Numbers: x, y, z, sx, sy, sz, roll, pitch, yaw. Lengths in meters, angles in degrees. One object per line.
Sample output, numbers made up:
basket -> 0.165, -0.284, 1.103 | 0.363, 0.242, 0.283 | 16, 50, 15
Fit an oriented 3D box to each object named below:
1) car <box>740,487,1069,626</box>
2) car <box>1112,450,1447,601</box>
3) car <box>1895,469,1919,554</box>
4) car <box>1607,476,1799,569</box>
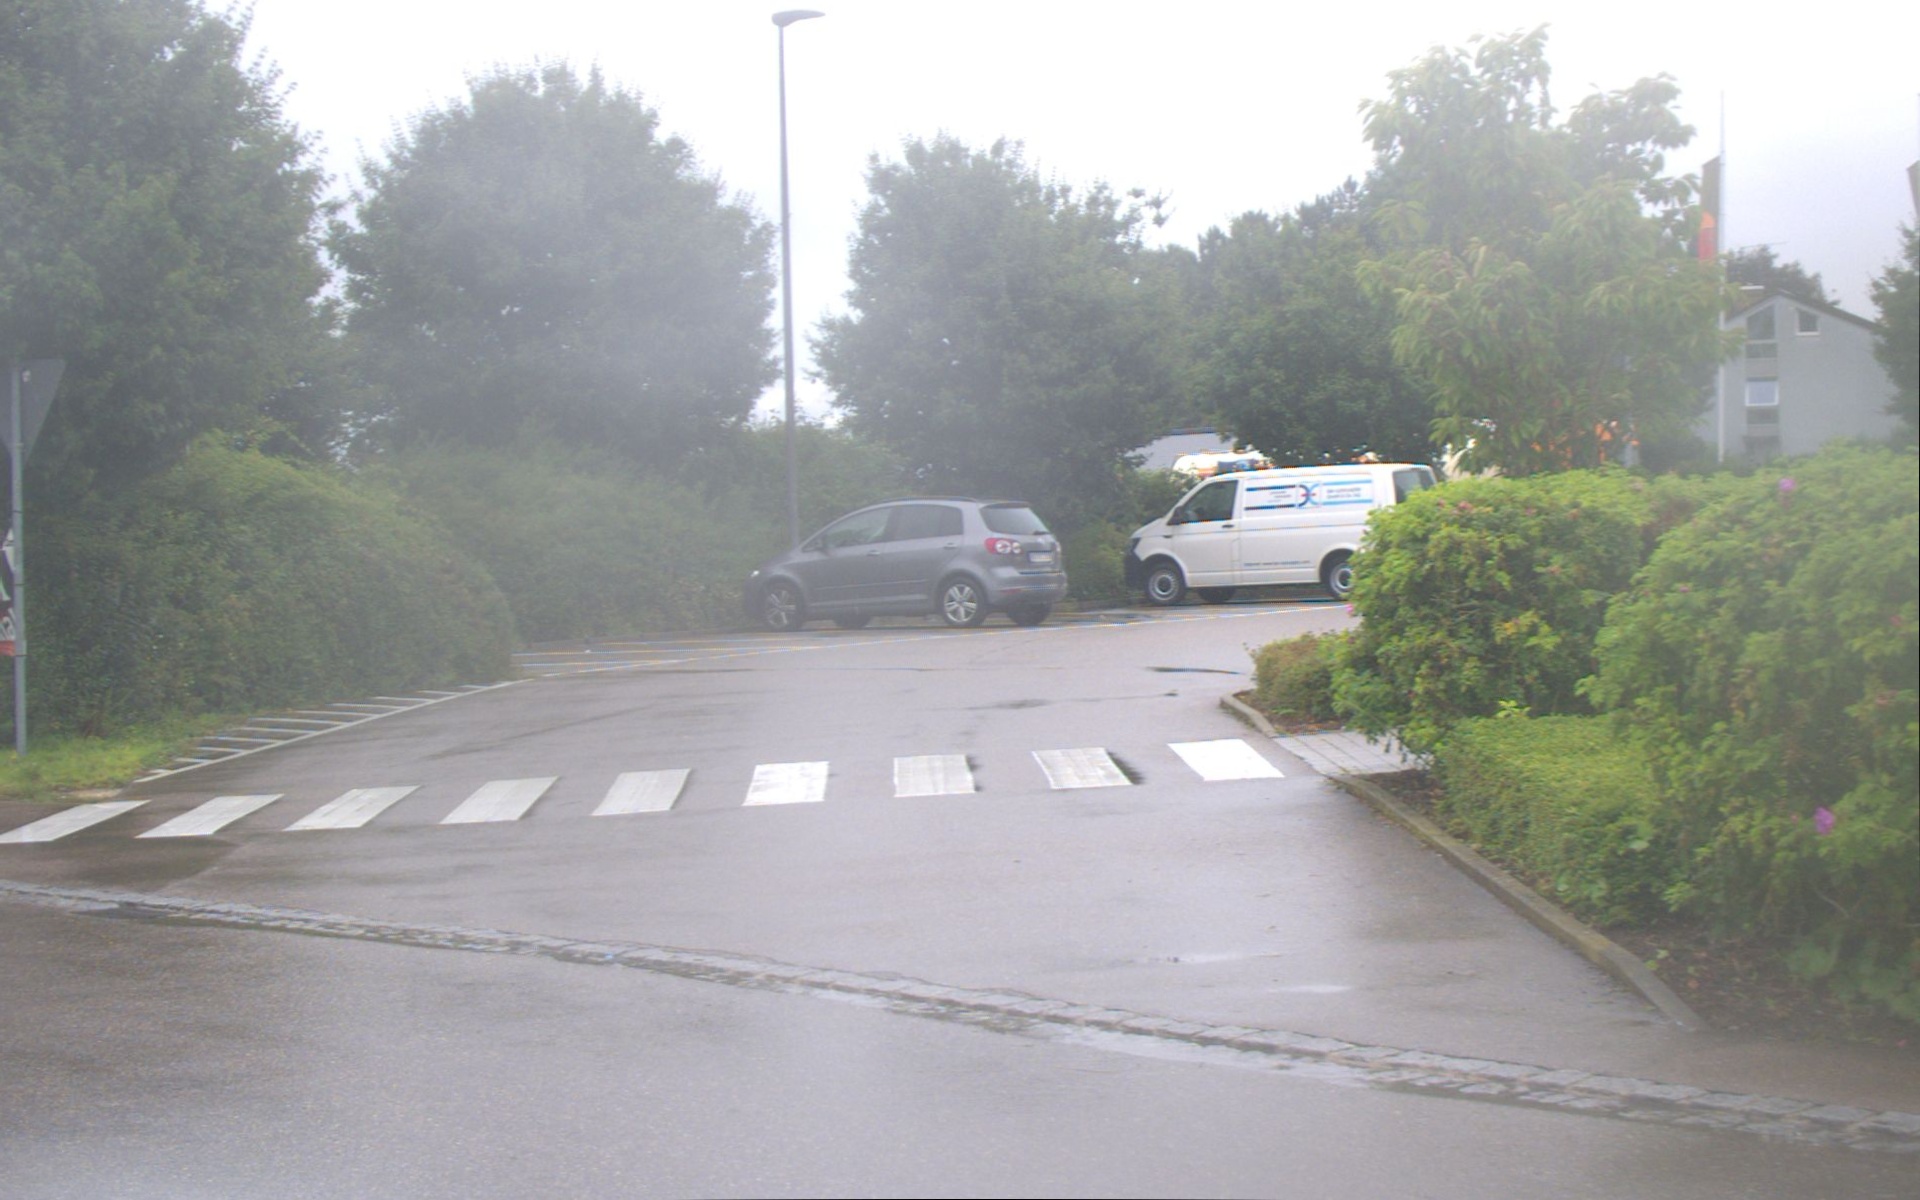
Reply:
car -> -0.691, -0.524, 41.673 | 3.738, 1.545, 1.448 | -1, 2, 31
car -> 4.631, -1.073, 50.043 | 4.528, 2.026, 1.642 | -1, 2, 31
car -> 17.437, -1.528, 57.872 | 1.580, 1.453, 3.681 | -3, 2, -15
car -> 12.349, -1.285, 57.353 | 1.580, 1.453, 3.681 | -3, 2, -15
